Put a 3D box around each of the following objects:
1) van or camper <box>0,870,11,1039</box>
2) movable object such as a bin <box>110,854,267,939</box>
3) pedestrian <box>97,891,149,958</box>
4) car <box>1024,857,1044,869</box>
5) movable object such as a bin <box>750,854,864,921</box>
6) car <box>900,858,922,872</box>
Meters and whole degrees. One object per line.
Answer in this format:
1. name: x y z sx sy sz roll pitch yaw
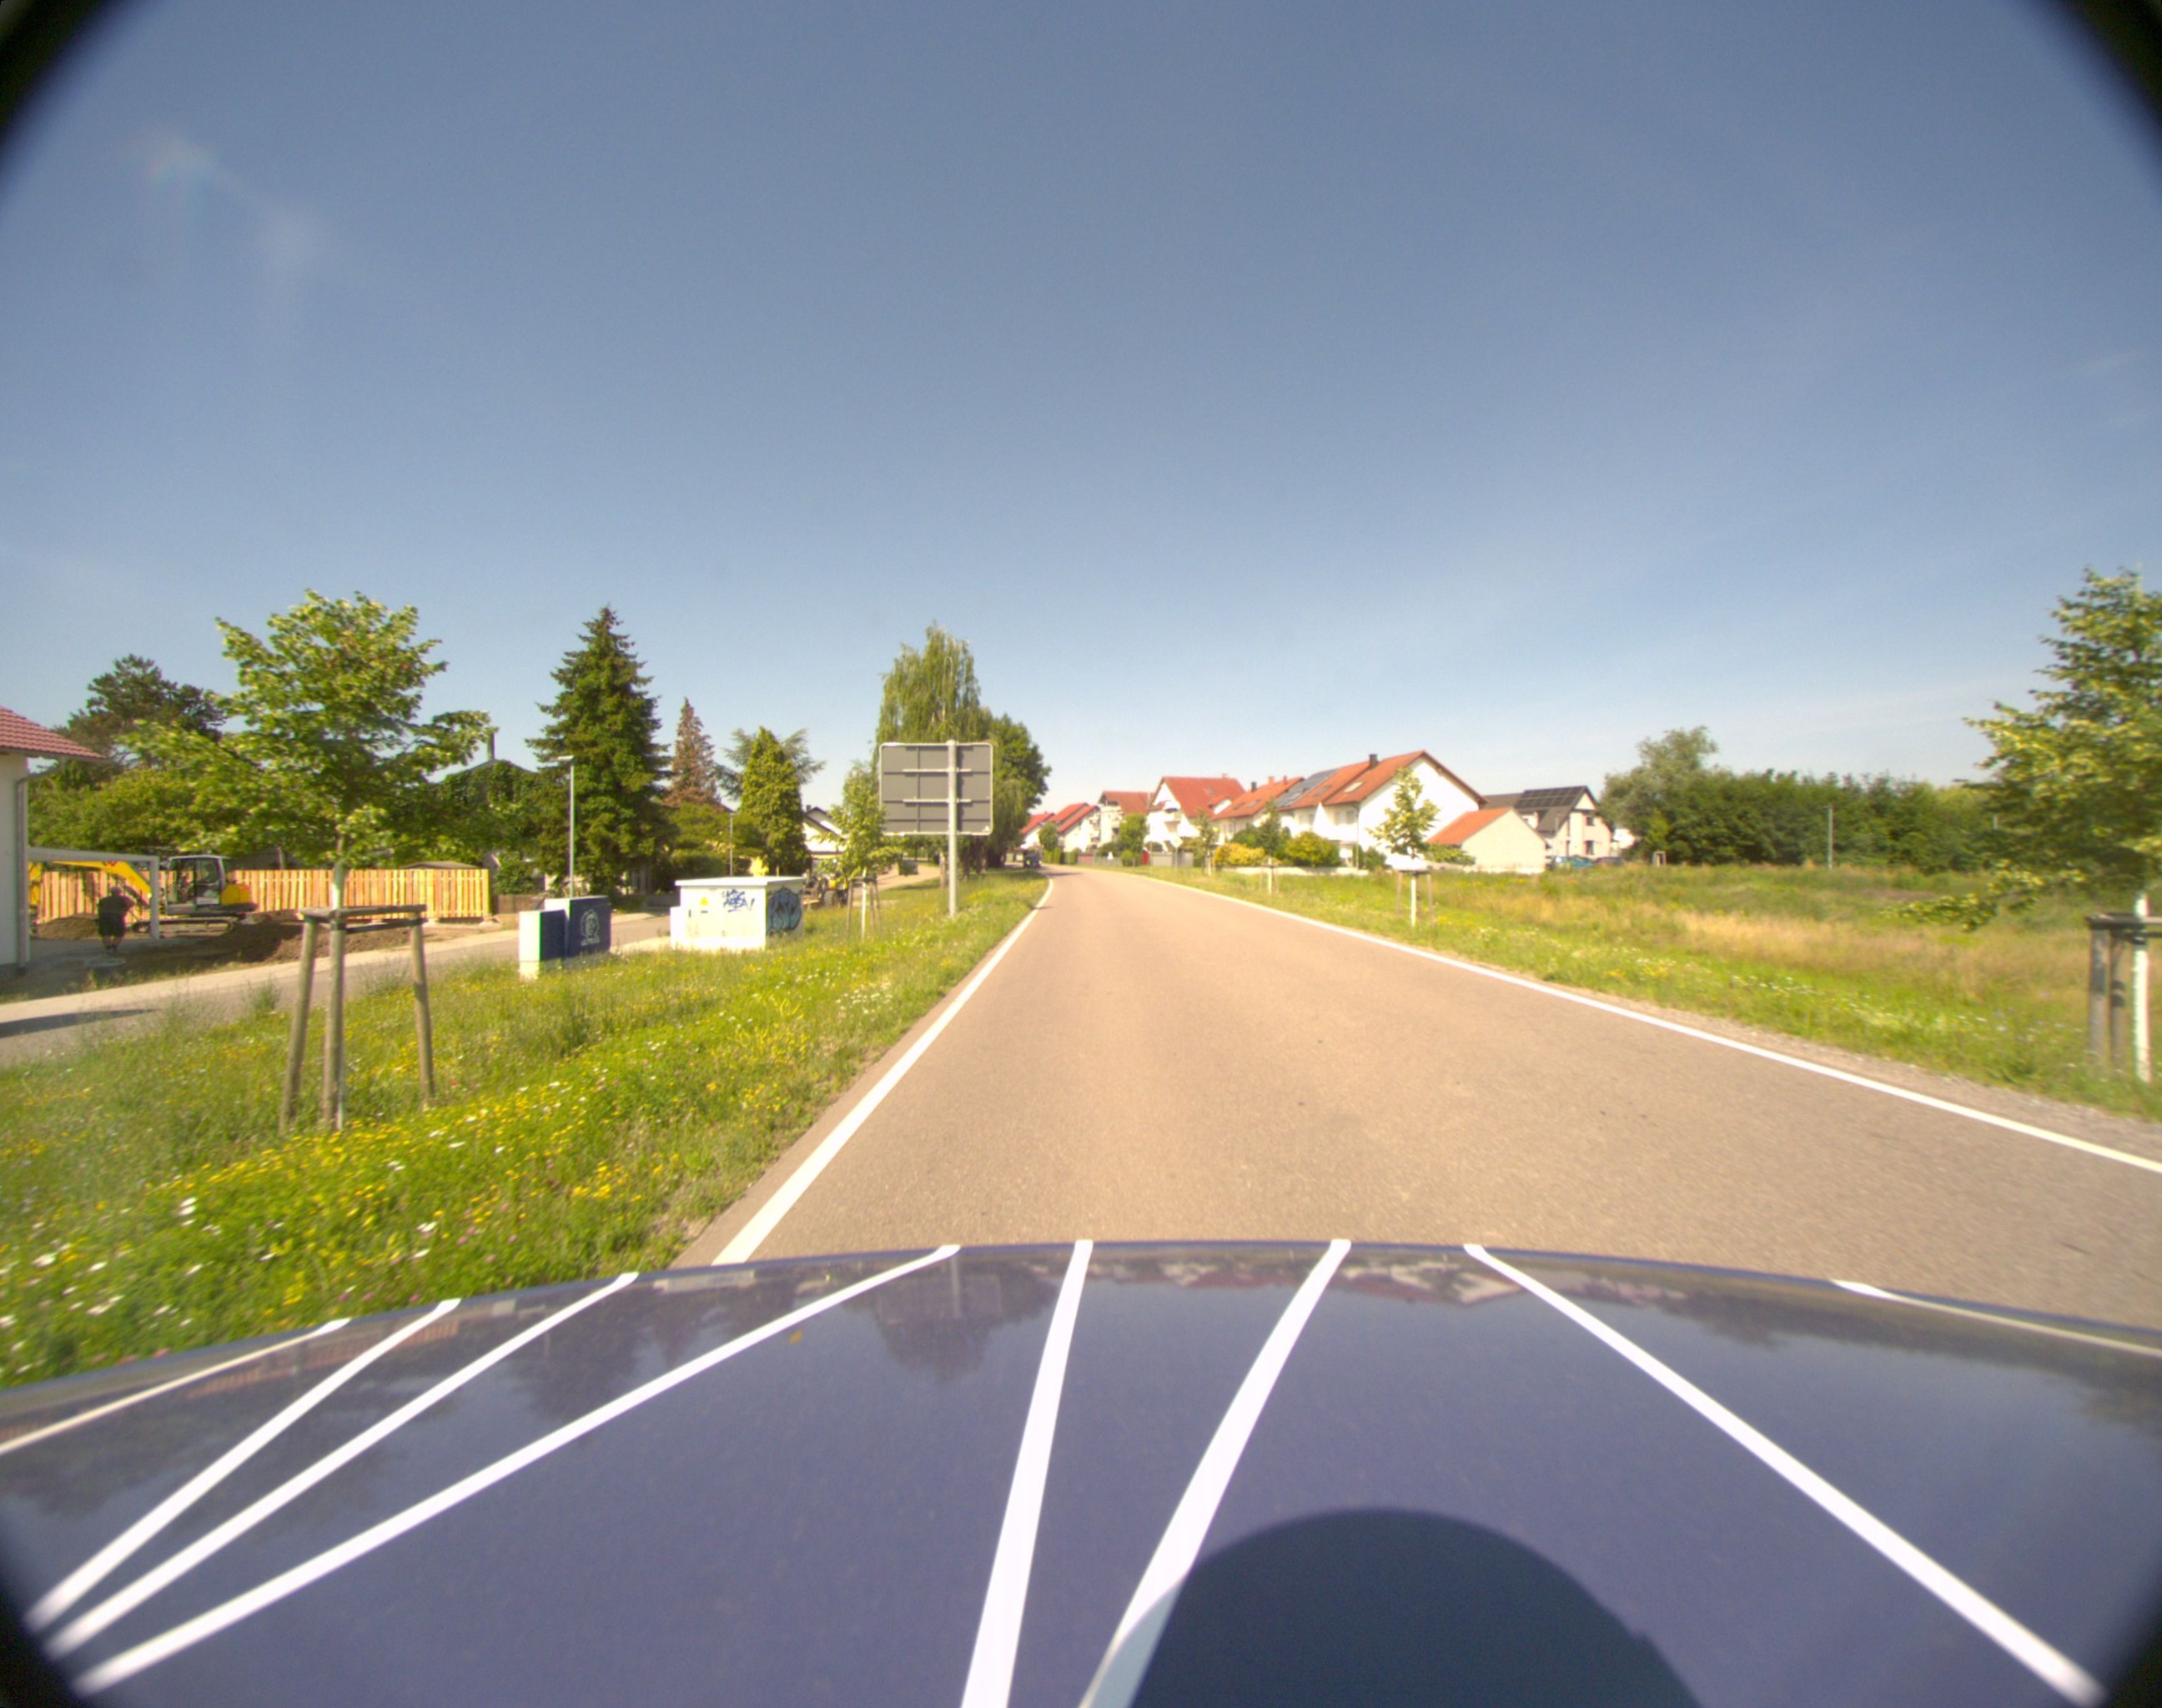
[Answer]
1. van or camper: -17.734 1.606 8.731 2.177 2.586 6.030 -1 1 1
2. movable object such as a bin: -29.085 1.321 24.894 2.883 2.542 1.783 -1 0 -33
3. pedestrian: -25.022 1.824 19.846 0.713 1.655 0.718 4 1 29
4. car: -6.235 1.153 100.191 1.935 1.552 3.995 1 0 -13
5. movable object such as a bin: -11.601 1.298 32.904 2.322 2.449 6.944 -1 1 1
6. car: -19.784 1.274 88.549 1.863 1.437 4.167 -2 1 -3
